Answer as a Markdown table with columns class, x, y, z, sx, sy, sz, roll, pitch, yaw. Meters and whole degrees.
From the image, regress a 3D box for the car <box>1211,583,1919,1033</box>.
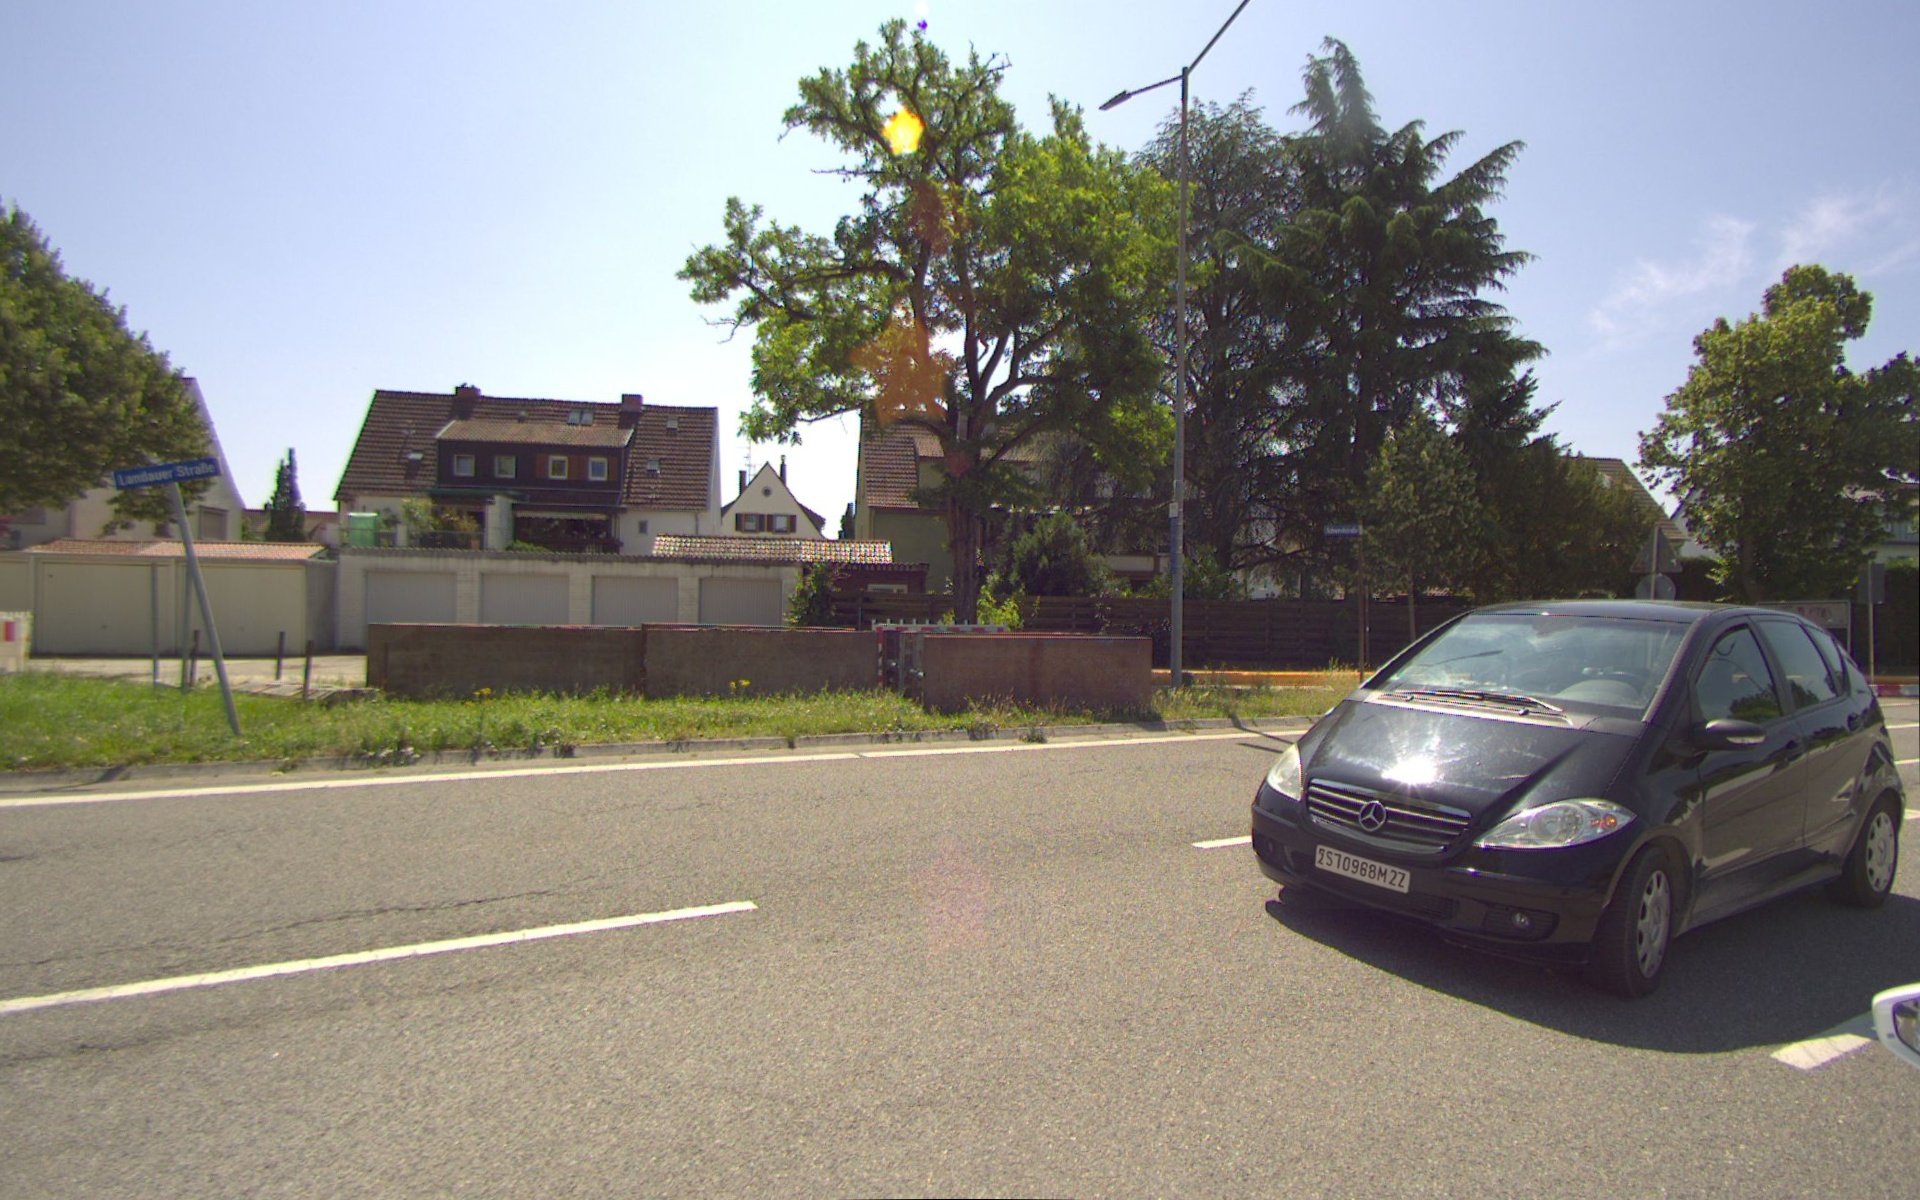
| class | x | y | z | sx | sy | sz | roll | pitch | yaw |
| --- | --- | --- | --- | --- | --- | --- | --- | --- | --- |
| car | 3.311 | 0.760 | 5.258 | 3.788 | 1.553 | 1.716 | 1 | 1 | -32 |

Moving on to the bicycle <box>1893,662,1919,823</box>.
| class | x | y | z | sx | sy | sz | roll | pitch | yaw |
| --- | --- | --- | --- | --- | --- | --- | --- | --- | --- |
| bicycle | 8.110 | 1.091 | 7.686 | 1.953 | 1.182 | 0.846 | 2 | 0 | -29 |
